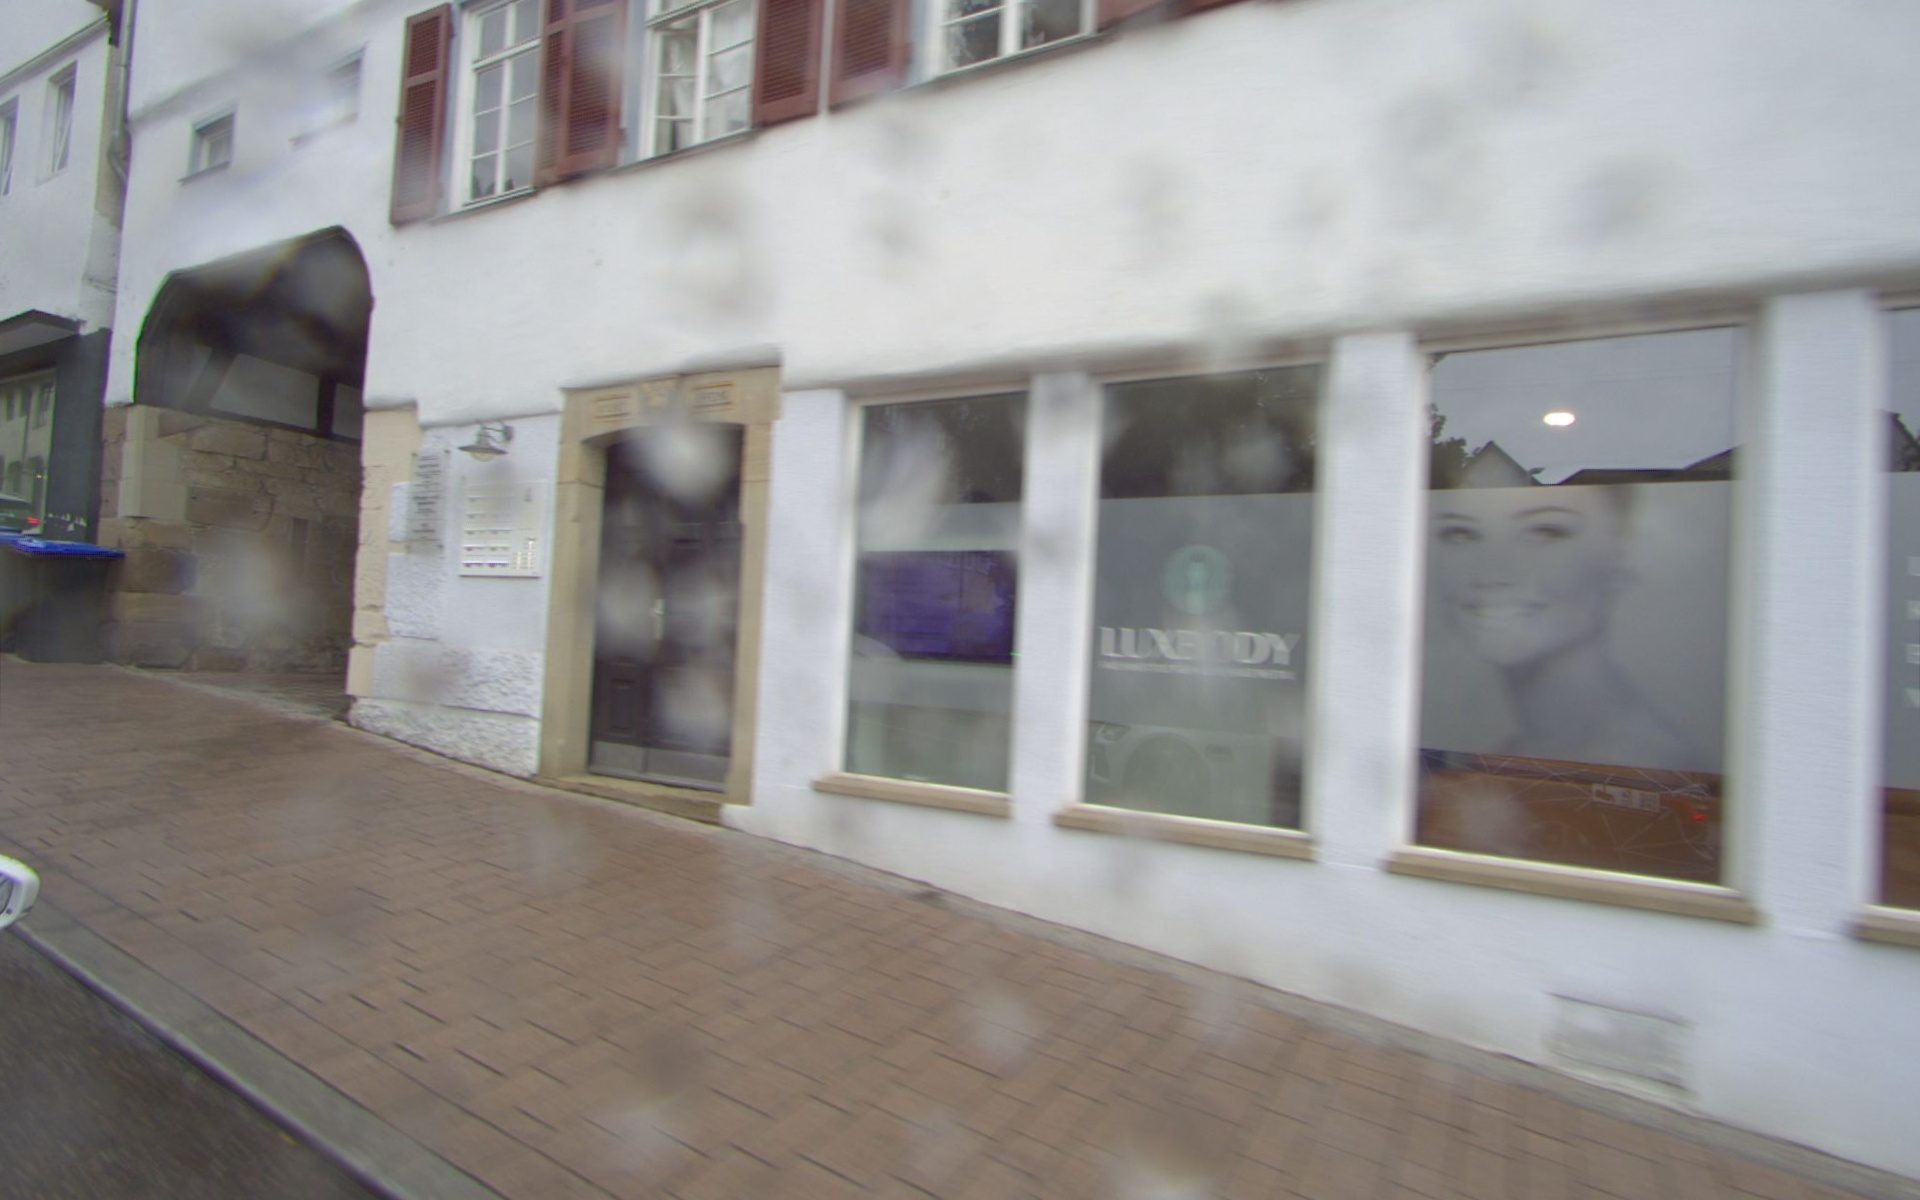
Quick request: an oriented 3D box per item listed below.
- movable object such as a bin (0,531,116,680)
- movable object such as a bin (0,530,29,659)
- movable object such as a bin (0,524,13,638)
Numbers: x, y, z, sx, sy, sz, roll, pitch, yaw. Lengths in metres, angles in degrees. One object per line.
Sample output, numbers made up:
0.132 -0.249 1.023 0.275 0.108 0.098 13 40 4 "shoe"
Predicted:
-8.198 0.061 9.065 0.595 1.220 0.625 9 1 29 "movable object such as a bin"
-8.906 -0.067 9.069 0.665 1.123 0.567 8 3 32 "movable object such as a bin"
-9.634 -0.213 9.644 0.604 1.077 0.659 9 5 32 "movable object such as a bin"
